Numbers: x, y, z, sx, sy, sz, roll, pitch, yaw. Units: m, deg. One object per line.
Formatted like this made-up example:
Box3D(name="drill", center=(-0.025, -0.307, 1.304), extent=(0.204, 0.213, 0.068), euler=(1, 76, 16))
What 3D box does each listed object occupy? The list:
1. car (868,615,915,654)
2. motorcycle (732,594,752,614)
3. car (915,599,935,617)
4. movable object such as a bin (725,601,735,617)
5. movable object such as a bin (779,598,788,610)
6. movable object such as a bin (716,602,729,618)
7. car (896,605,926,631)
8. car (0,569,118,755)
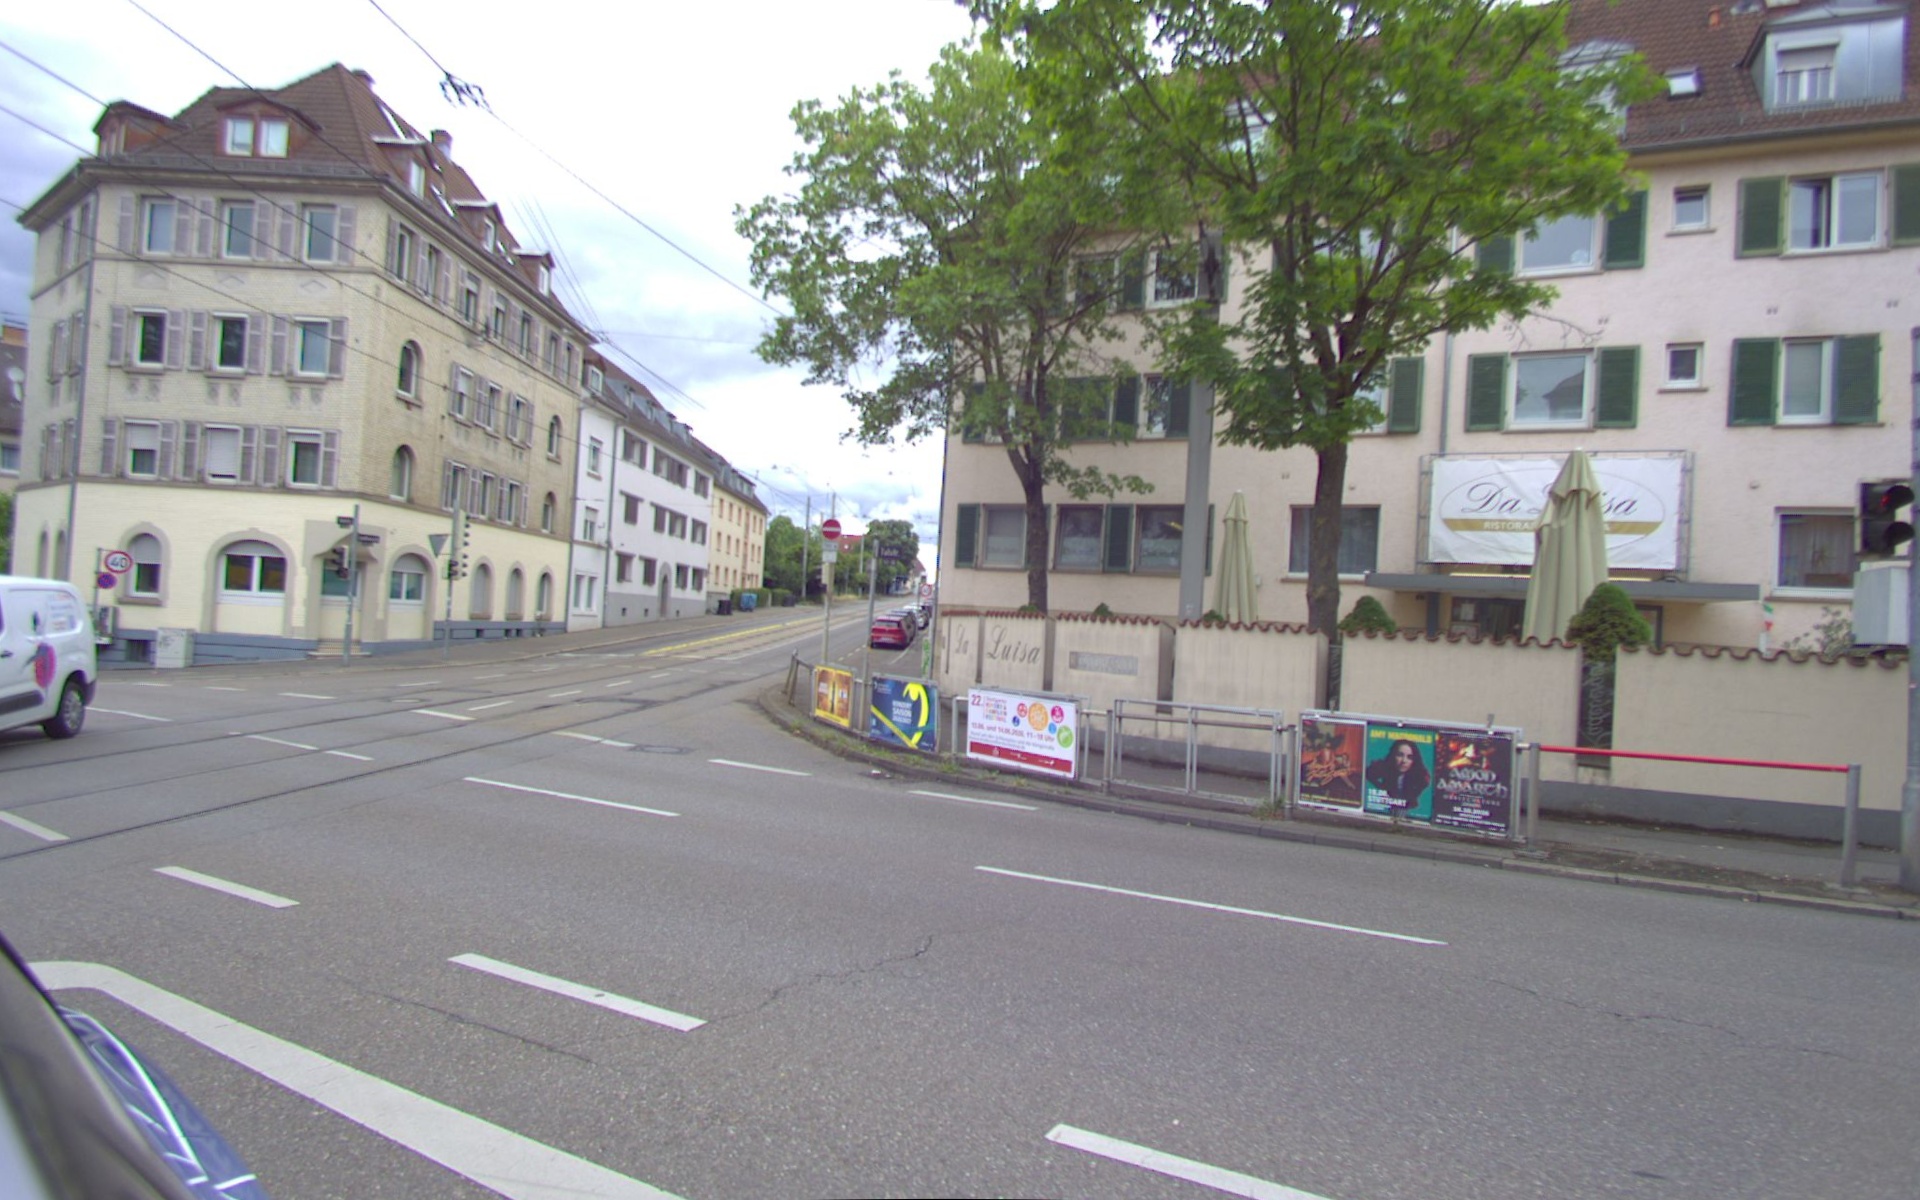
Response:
Box3D(name="car", center=(-3.167, 1.563, 47.250), extent=(1.766, 1.449, 4.260), euler=(5, 1, 1))
Box3D(name="motorcycle", center=(-16.286, 0.280, 75.555), extent=(0.724, 1.400, 1.932), euler=(7, 1, 7))
Box3D(name="car", center=(-3.340, 0.706, 96.756), extent=(1.718, 1.469, 3.955), euler=(5, 1, -4))
Box3D(name="movable object such as a bin", center=(-15.586, 0.605, 68.573), extent=(0.556, 1.017, 0.500), euler=(6, 0, -8))
Box3D(name="movable object such as a bin", center=(-16.127, 0.385, 92.608), extent=(0.660, 1.067, 0.539), euler=(2, 0, 1))
Box3D(name="movable object such as a bin", center=(-15.863, 0.650, 67.494), extent=(0.629, 1.017, 0.602), euler=(6, 0, 1))
Box3D(name="car", center=(-3.204, 1.171, 67.047), extent=(1.720, 1.522, 3.800), euler=(3, 1, 1))
Box3D(name="car", center=(-10.452, 0.598, 9.881), extent=(1.857, 1.852, 4.691), euler=(2, -1, -19))
